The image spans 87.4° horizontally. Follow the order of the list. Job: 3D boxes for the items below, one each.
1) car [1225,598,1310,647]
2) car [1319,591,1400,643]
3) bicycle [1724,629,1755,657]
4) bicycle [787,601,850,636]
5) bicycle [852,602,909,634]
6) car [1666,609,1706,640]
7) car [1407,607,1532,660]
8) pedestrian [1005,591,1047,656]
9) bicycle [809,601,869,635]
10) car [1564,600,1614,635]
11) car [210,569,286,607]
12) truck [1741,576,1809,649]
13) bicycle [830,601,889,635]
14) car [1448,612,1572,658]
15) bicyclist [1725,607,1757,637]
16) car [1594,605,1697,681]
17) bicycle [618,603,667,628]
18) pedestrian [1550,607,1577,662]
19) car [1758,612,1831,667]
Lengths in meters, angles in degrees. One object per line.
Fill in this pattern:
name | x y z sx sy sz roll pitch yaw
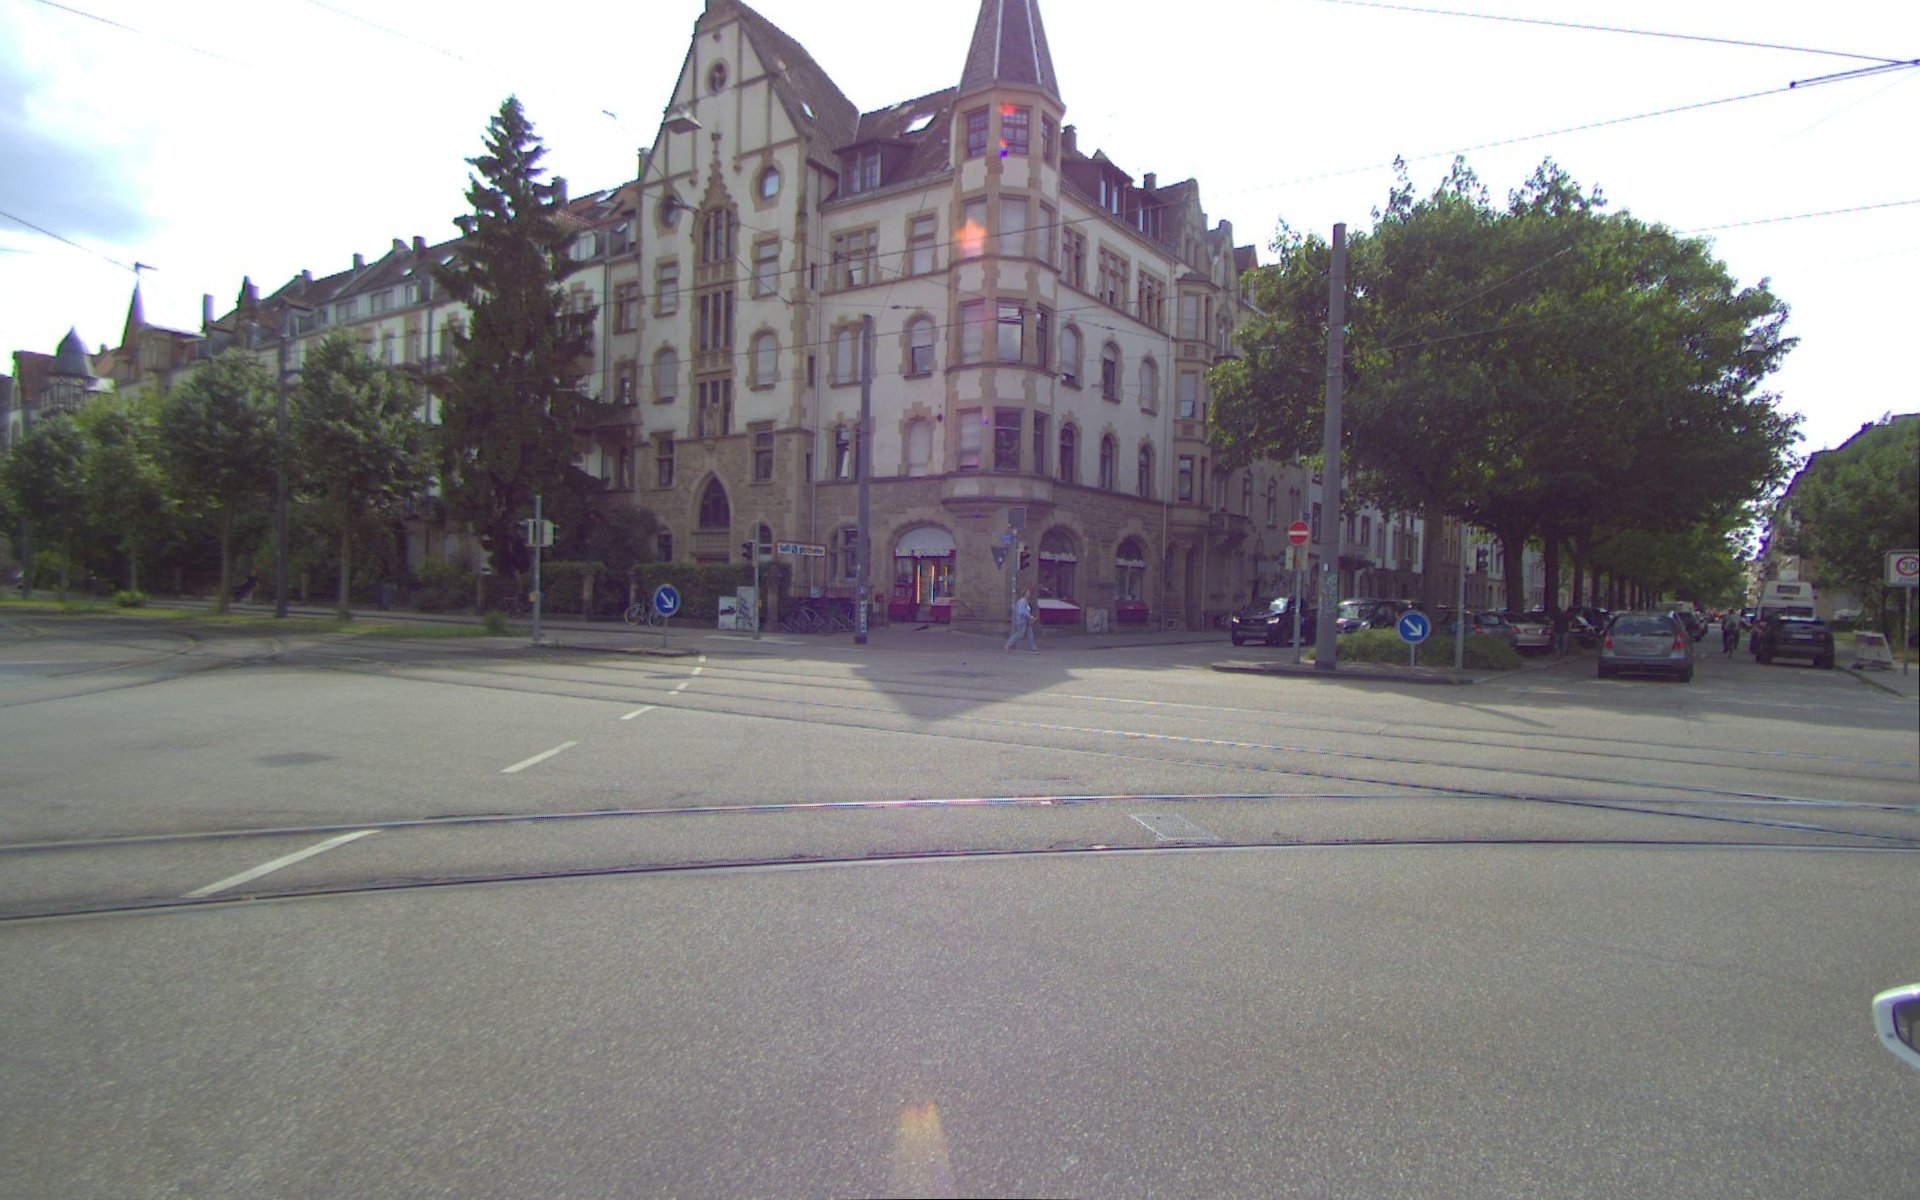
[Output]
car | 11.208 0.787 36.457 1.966 1.639 3.989 1 0 33
car | 14.359 0.596 35.969 1.966 1.751 3.989 1 0 33
bicycle | 29.030 1.593 37.393 0.741 0.971 2.286 1 0 42
bicycle | -4.567 0.588 32.376 1.887 1.095 0.777 1 0 28
bicycle | -2.835 0.622 35.620 1.887 1.095 0.777 1 0 28
car | 41.569 1.387 57.485 1.701 1.728 3.661 1 0 39
car | 16.401 1.029 32.582 1.936 1.515 3.999 1 0 -1
pedestrian | 1.801 0.637 27.465 1.004 1.745 0.775 1 1 -6
bicycle | -4.035 0.599 33.543 1.887 1.095 0.777 1 0 28
car | 31.845 0.866 50.836 1.731 1.654 3.484 2 1 38
car | -36.302 -0.606 51.210 3.930 1.818 1.821 1 0 32
truck | 35.546 0.520 43.755 2.099 3.010 3.979 1 0 42
bicycle | -3.461 0.610 34.535 1.887 1.095 0.777 1 0 28
car | 18.586 1.141 34.163 1.936 1.357 3.999 1 0 -1
bicyclist | 29.165 0.811 37.511 0.827 1.096 1.393 1 0 42
car | 16.146 0.947 23.596 1.701 1.627 3.661 1 0 39
bicycle | -11.109 0.535 35.138 1.887 0.859 0.470 1 0 28
pedestrian | 19.436 1.093 32.347 0.644 1.748 0.492 2 1 42
car | 27.796 1.271 33.423 1.732 1.654 3.481 2 1 42
